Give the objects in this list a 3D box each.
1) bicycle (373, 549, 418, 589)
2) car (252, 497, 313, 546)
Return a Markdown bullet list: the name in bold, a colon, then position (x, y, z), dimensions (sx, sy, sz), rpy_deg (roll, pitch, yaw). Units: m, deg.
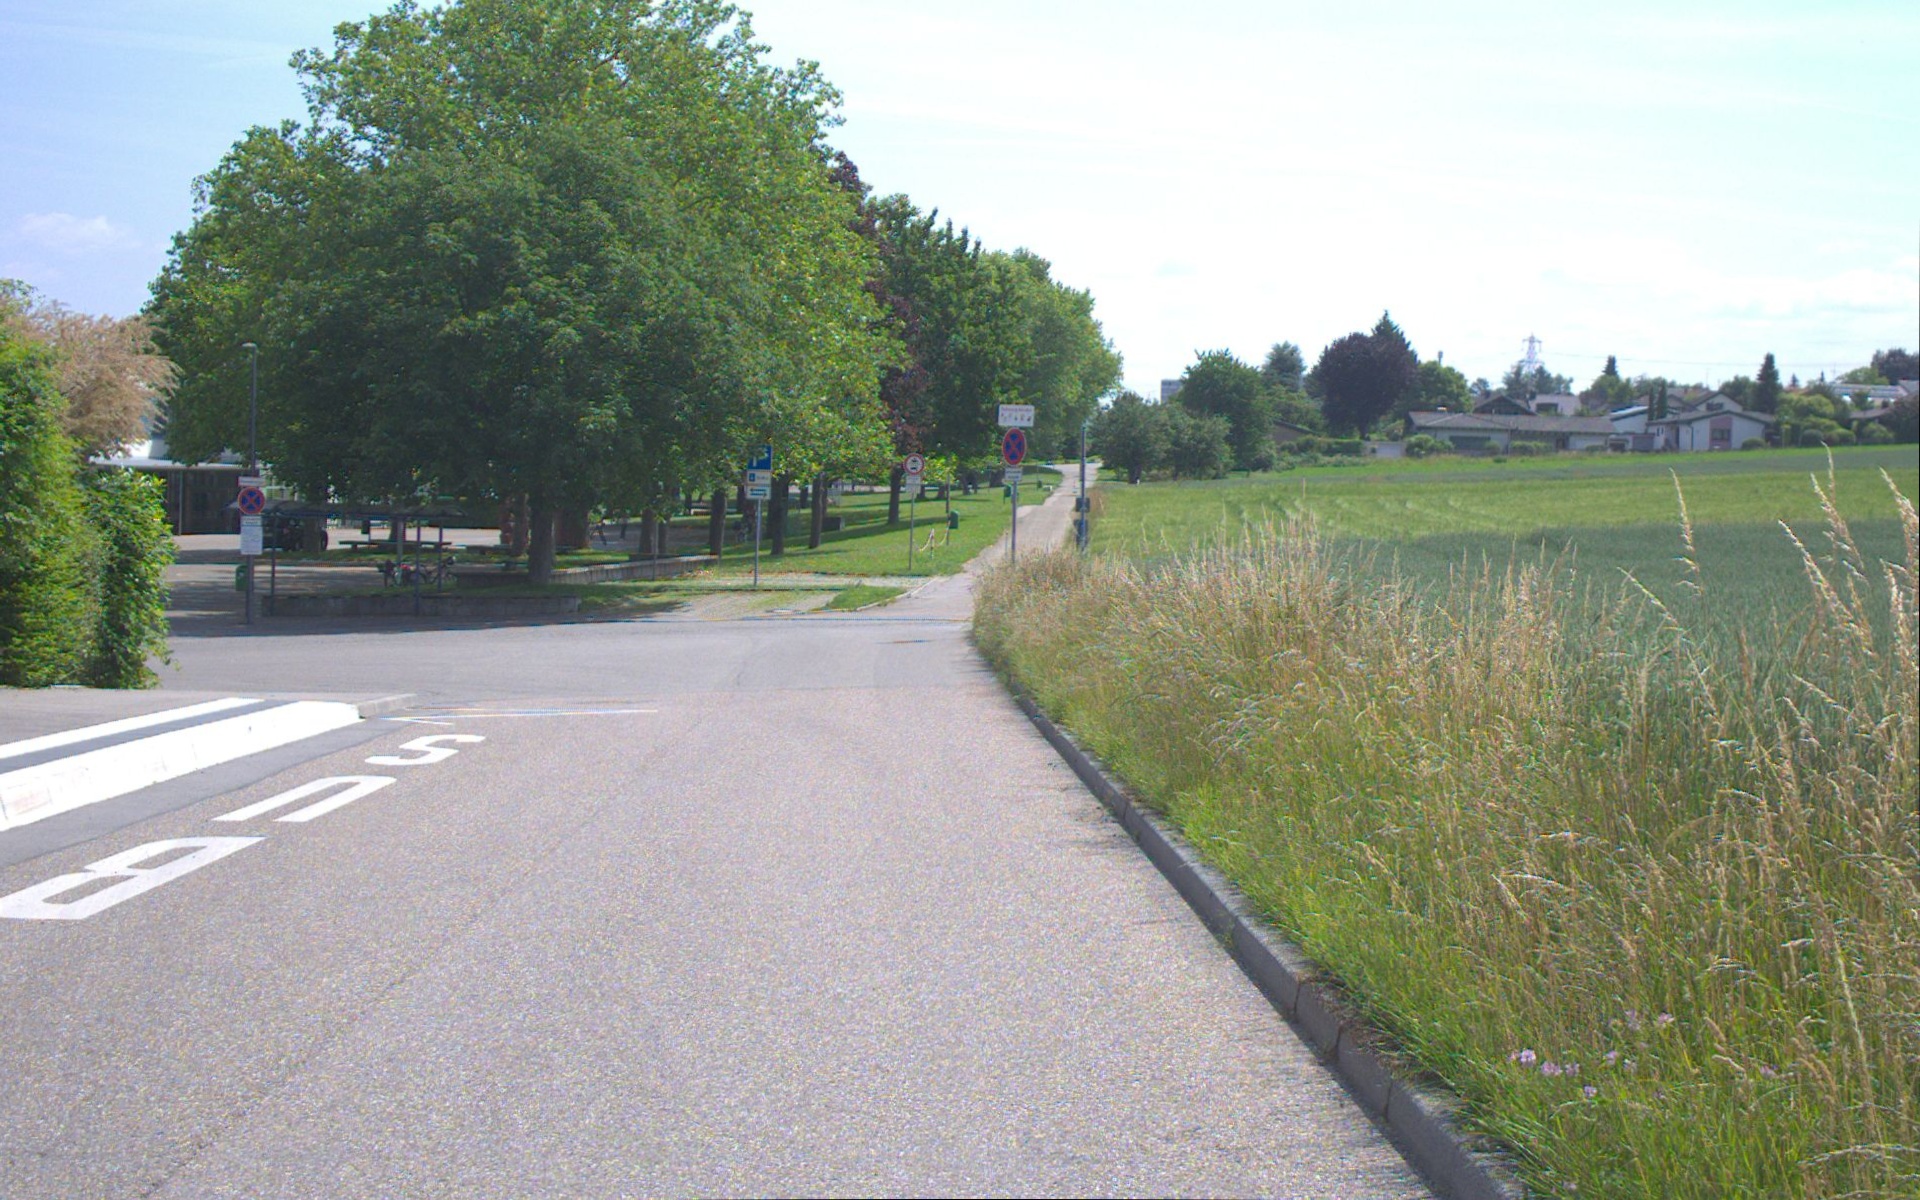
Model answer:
- **bicycle**: position (-15.096, -0.830, 91.951), dimensions (0.595, 1.035, 1.892), rpy_deg (0, 2, 9)
- **car**: position (-25.839, -2.995, 131.214), dimensions (1.691, 1.828, 3.411), rpy_deg (0, 2, 0)
